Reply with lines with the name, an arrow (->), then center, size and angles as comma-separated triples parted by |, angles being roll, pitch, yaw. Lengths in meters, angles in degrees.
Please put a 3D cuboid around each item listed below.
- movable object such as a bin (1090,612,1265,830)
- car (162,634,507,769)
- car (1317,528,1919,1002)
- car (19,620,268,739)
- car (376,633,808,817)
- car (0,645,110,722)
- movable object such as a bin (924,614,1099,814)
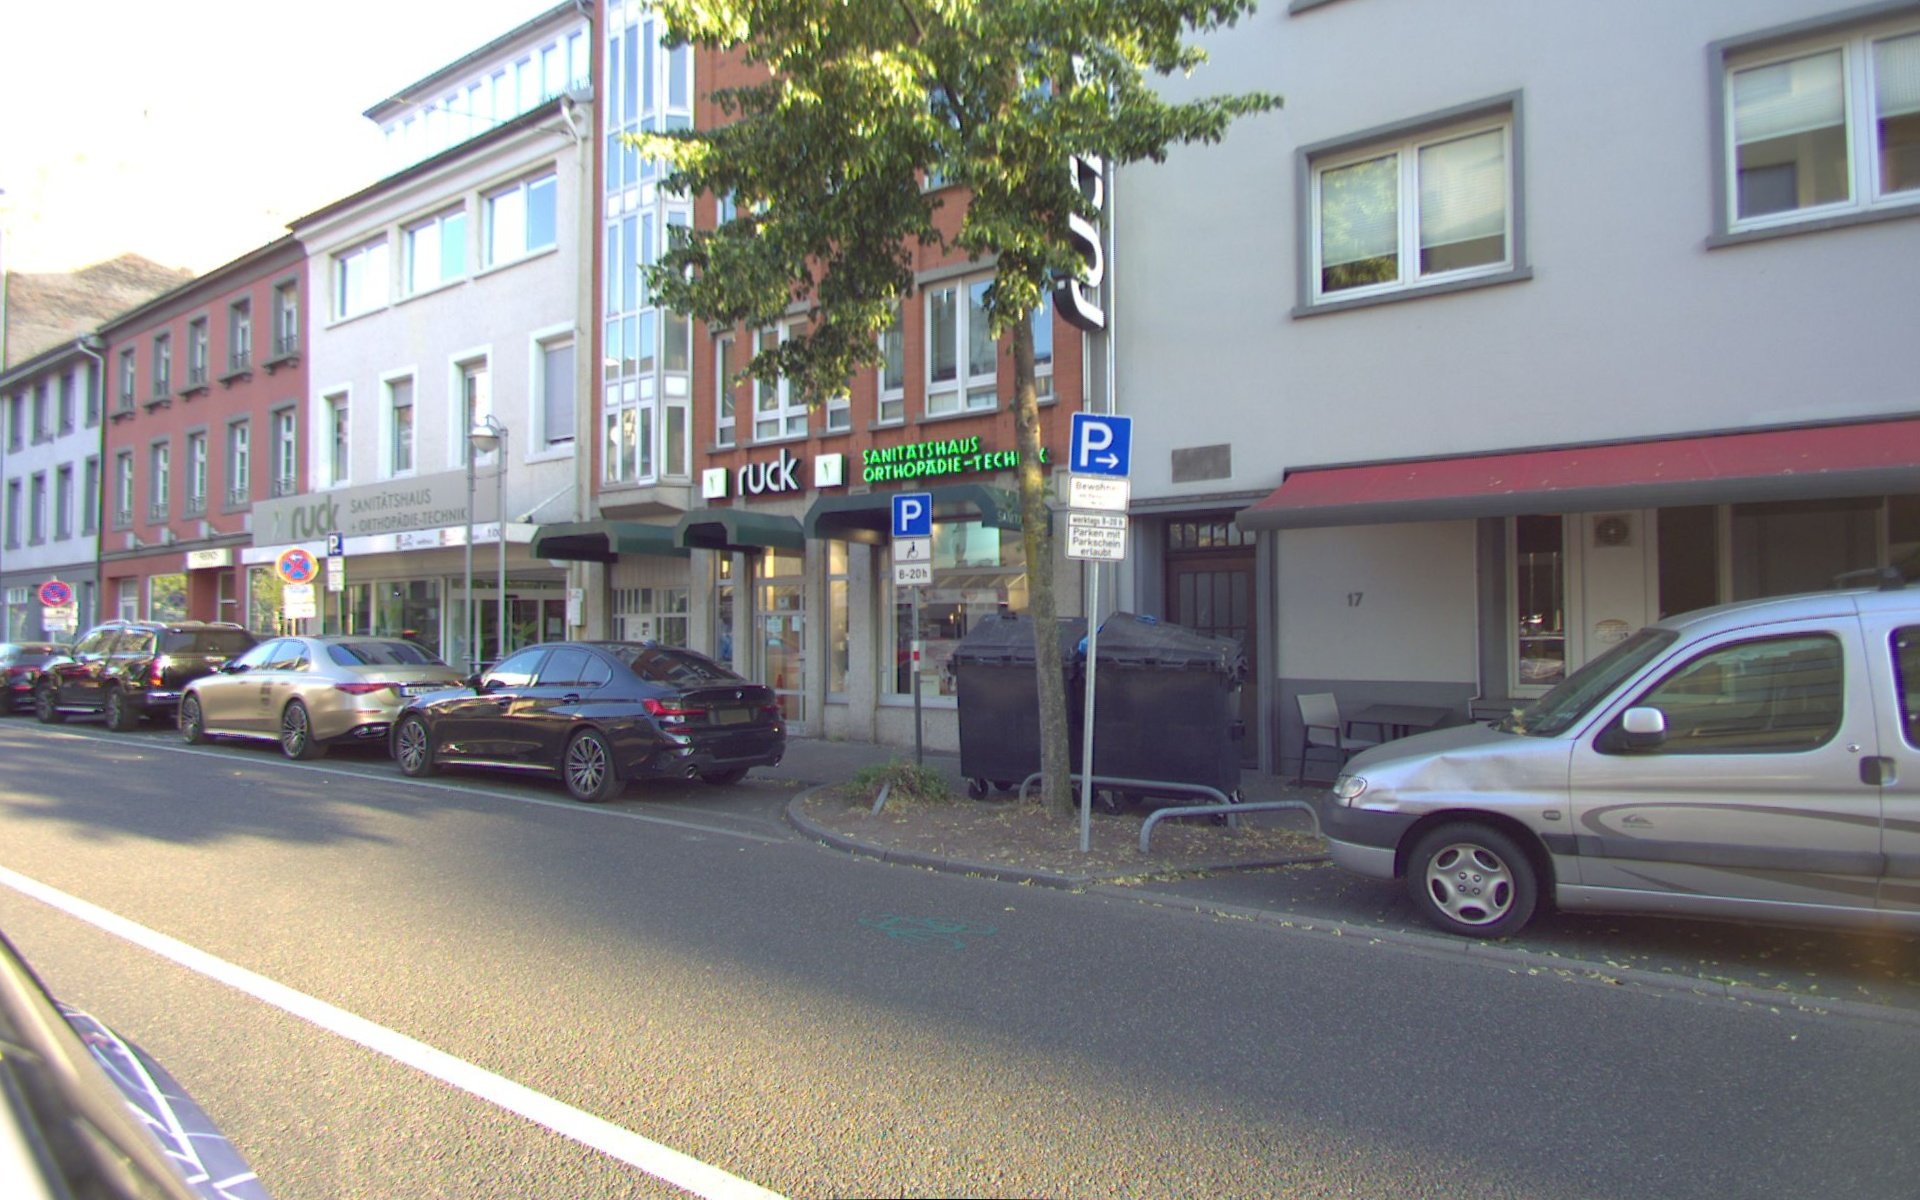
movable object such as a bin -> 1.786, 0.930, 8.301 | 1.203, 1.632, 0.775 | -1, 0, 30
car -> -8.384, 1.240, 13.407 | 5.094, 1.484, 1.977 | -2, -4, 34
car -> 4.011, 0.710, 4.959 | 4.038, 1.902, 1.657 | -1, -4, 31
car -> -14.028, 1.305, 17.319 | 4.921, 1.793, 1.708 | -2, -4, 31
car -> -3.810, 1.122, 10.190 | 4.528, 1.484, 1.706 | -2, -5, 33
car -> -19.214, 1.660, 20.635 | 4.001, 1.448, 1.688 | -2, -5, 32
movable object such as a bin -> 0.460, 0.959, 9.007 | 1.331, 1.632, 0.775 | -1, -1, 30
